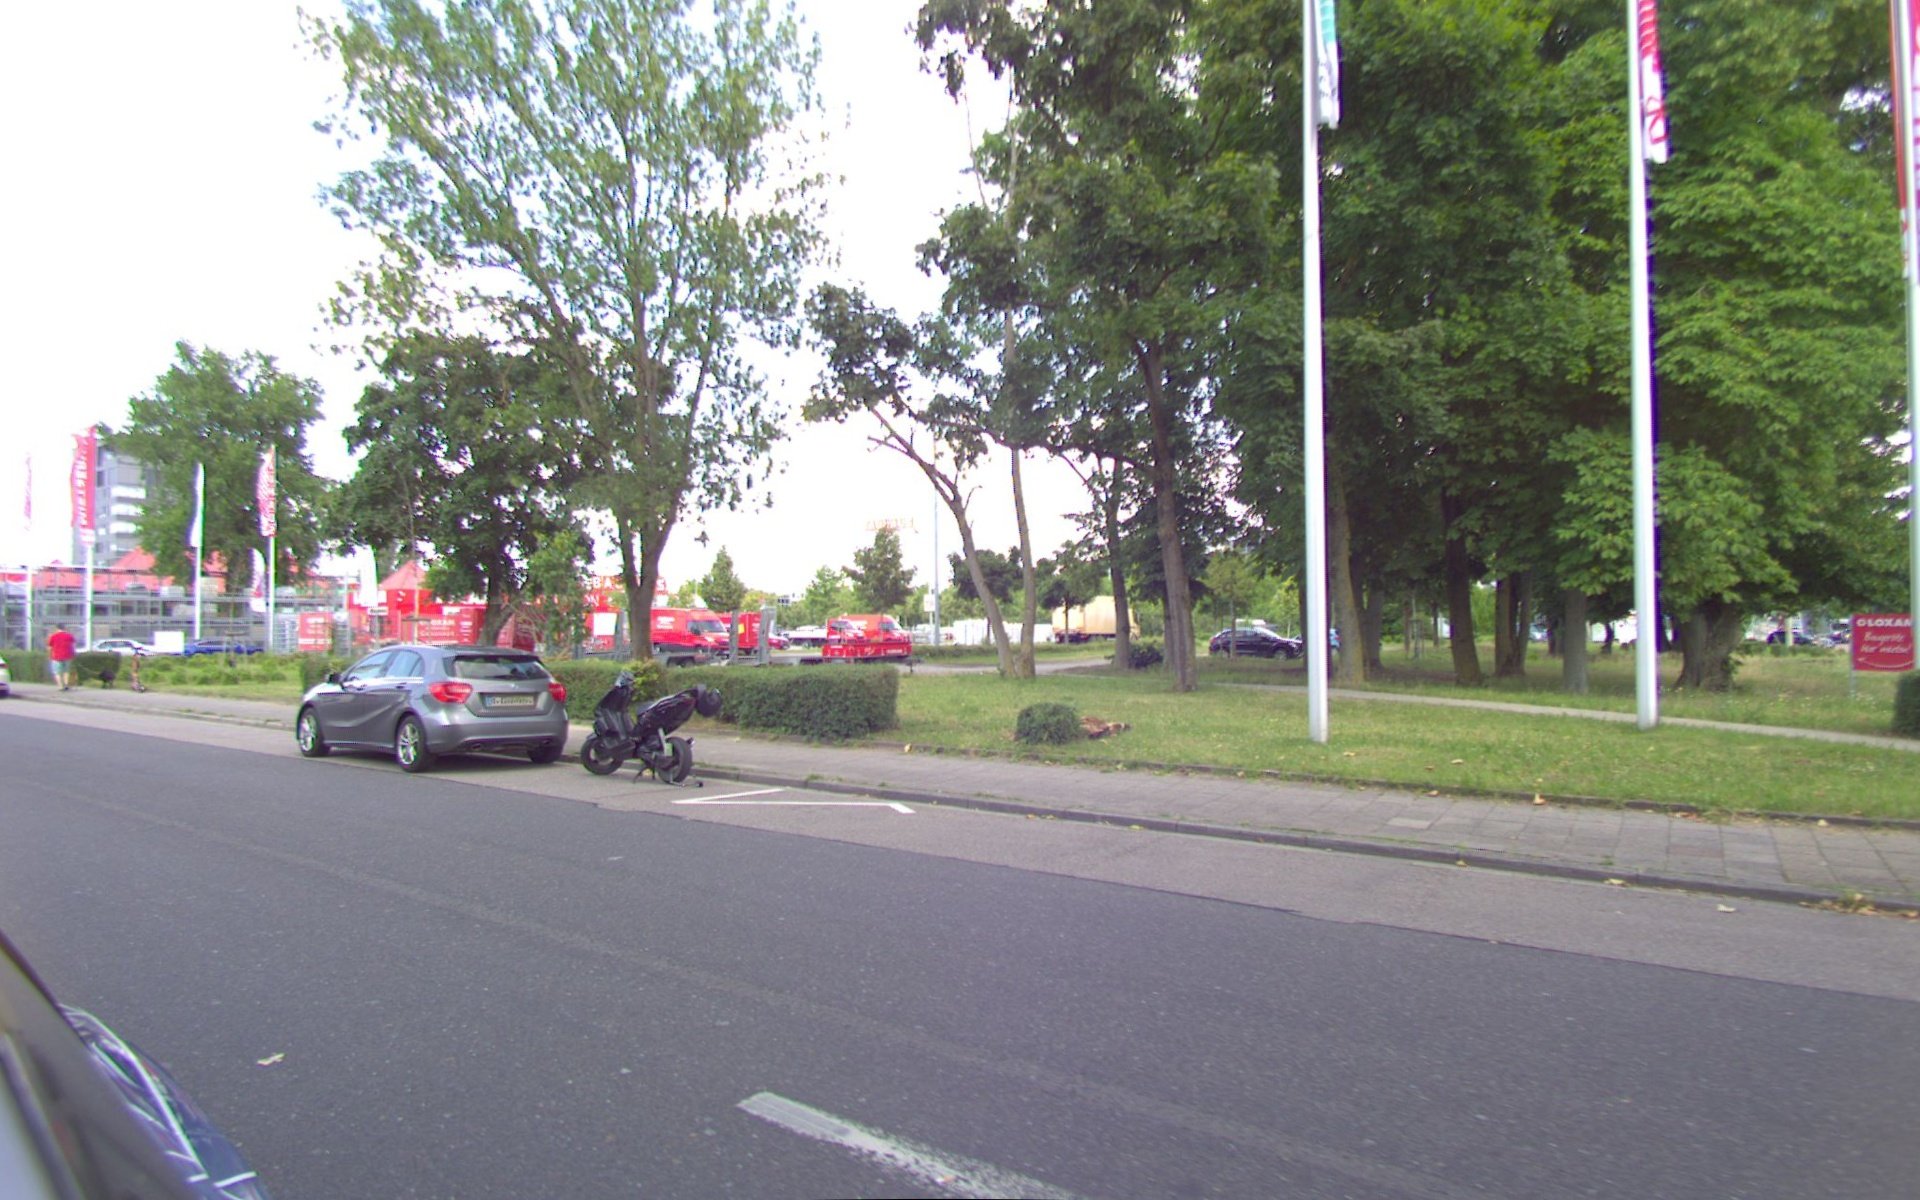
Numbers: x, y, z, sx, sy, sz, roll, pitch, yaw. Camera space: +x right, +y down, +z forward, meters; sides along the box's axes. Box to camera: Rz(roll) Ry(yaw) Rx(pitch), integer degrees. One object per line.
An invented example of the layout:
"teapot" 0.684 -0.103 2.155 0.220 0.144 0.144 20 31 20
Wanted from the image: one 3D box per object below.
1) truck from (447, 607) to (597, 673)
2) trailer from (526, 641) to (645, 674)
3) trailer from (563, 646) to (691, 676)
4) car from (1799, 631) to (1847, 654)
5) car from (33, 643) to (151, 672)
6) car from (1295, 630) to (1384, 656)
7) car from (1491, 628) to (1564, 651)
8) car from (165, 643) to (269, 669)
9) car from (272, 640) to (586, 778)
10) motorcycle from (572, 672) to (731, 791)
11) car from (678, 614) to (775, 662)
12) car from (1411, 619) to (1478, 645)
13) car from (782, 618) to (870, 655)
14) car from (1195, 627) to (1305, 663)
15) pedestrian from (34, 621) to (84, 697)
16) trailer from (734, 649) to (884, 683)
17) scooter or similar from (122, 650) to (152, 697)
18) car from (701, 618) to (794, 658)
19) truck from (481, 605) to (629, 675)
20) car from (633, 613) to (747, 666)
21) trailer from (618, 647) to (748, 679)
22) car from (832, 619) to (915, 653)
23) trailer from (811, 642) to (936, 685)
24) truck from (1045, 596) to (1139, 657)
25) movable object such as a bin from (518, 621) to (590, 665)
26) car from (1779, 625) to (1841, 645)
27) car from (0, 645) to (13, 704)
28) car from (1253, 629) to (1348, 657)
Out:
"truck" -18.597 1.645 43.278 1.812 2.613 5.702 0 -1 37
"trailer" -14.496 2.202 39.400 1.667 1.129 4.200 0 -1 33
"trailer" -12.461 2.273 38.105 2.153 0.920 4.200 0 -1 33
"car" 59.698 2.905 70.086 1.864 1.497 3.957 -1 -2 31
"car" -47.737 3.149 55.758 1.950 1.465 4.642 -2 -2 36
"car" 21.707 2.469 57.935 4.401 1.423 1.976 -1 -2 35
"car" 53.225 3.670 95.026 2.173 2.092 5.928 0 -2 -21
"car" -41.391 3.094 56.451 1.925 1.387 4.327 -2 -3 35
"car" -6.670 1.258 12.556 4.323 1.431 1.694 -2 -5 37
"motorcycle" -3.298 1.355 10.757 1.799 1.147 0.615 -2 -6 36
"car" -13.554 2.148 58.670 5.711 2.613 2.246 0 -1 36
"car" 48.023 3.137 100.523 2.325 2.461 5.928 0 -2 -21
"car" -9.724 2.592 73.001 6.423 2.434 2.247 0 -1 35
"car" 12.613 1.933 44.101 4.346 1.523 1.555 -1 -2 35
"pedestrian" -24.561 1.579 27.592 0.883 2.029 0.802 -2 -2 34
"trailer" -4.835 2.113 32.879 2.185 0.920 4.548 -3 -3 40
"scooter or similar" -21.906 1.948 26.943 0.511 1.202 1.281 1 -2 -44
"car" -14.112 2.458 67.016 6.423 2.434 2.247 0 -1 35
"truck" -16.283 1.570 41.029 1.775 2.613 5.499 0 -1 35
"car" -14.380 2.016 53.733 6.425 2.613 2.246 0 -1 36
"trailer" -9.788 2.207 36.034 2.017 0.920 4.200 0 -1 33
"car" -6.715 2.717 78.331 6.423 2.434 2.247 0 -1 35
"trailer" -2.629 1.940 31.455 1.714 1.200 3.777 -3 -3 40
"truck" 9.217 1.789 69.869 2.981 3.979 8.251 0 -1 35
"movable object such as a bin" -21.518 2.277 53.643 3.537 2.292 1.976 -2 -3 35
"car" 79.635 3.296 94.883 1.859 1.798 4.012 0 -2 -19
"car" -26.769 1.927 26.618 4.224 1.490 1.750 -2 -5 34
"car" 18.022 2.255 53.577 4.401 1.423 1.976 -1 -2 35
